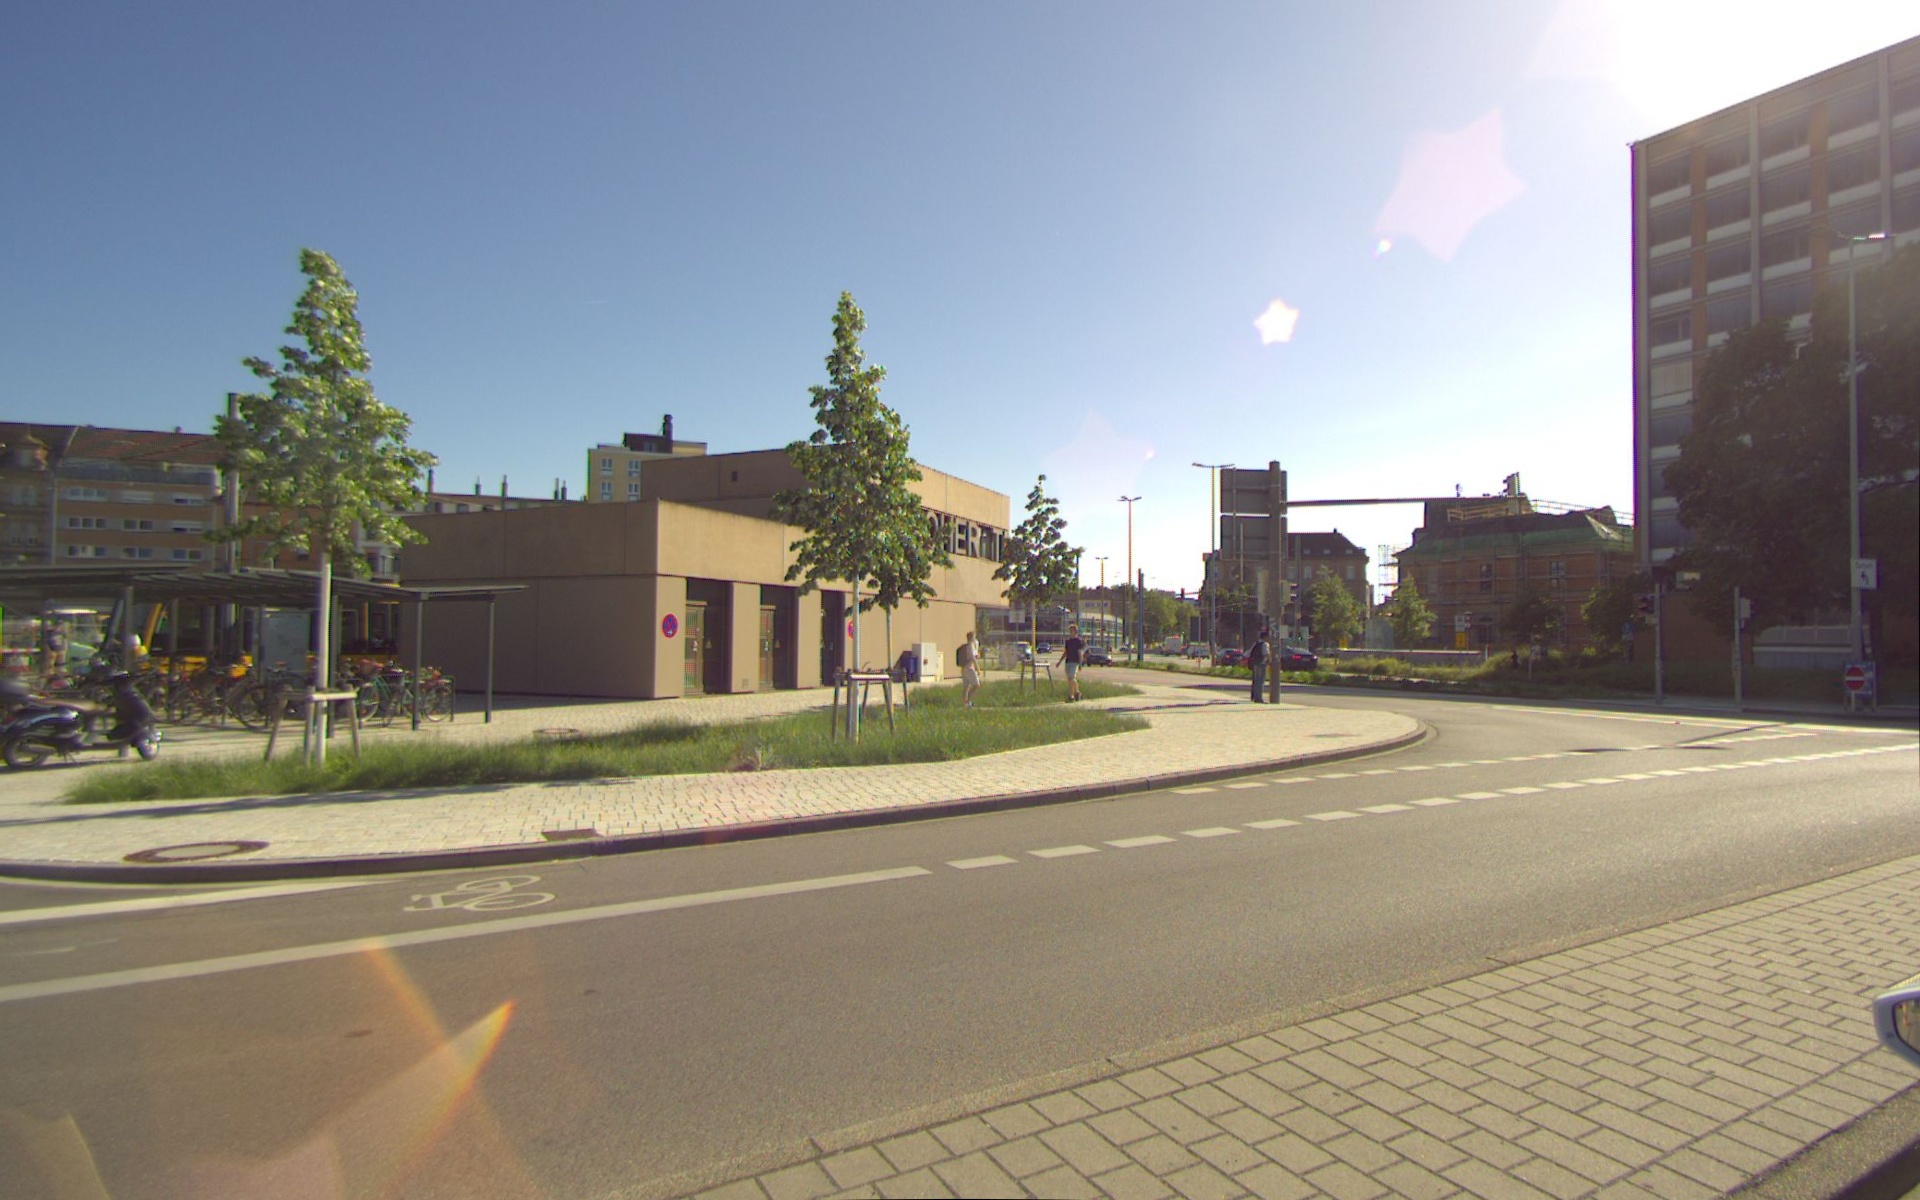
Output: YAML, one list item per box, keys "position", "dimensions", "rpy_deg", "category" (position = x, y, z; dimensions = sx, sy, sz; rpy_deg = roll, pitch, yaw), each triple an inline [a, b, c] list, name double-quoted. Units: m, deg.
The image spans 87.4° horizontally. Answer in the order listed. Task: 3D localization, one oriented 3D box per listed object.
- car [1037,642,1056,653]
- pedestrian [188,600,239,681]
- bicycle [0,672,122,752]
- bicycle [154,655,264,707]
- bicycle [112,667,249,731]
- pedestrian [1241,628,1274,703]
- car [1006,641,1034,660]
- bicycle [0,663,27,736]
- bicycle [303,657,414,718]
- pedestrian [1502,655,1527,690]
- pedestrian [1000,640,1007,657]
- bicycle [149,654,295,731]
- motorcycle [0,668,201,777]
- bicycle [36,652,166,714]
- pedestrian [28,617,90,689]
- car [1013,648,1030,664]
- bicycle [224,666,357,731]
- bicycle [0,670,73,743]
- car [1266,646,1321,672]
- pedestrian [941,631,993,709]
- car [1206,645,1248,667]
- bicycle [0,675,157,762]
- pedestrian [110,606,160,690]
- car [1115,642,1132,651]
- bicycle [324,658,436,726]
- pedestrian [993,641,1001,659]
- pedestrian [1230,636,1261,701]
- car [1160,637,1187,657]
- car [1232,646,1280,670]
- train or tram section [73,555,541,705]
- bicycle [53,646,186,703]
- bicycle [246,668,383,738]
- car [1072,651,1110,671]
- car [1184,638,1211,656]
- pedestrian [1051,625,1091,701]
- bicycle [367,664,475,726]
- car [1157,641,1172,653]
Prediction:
- position: [12.282, 6.730, 142.667]
  dimensions: [1.960, 1.603, 4.002]
  rpy_deg: [0, -2, 15]
  category: "car"
- position: [-17.630, 0.946, 23.752]
  dimensions: [0.738, 1.880, 0.709]
  rpy_deg: [1, -2, -19]
  category: "pedestrian"
- position: [-13.124, 1.557, 14.074]
  dimensions: [0.617, 1.021, 2.026]
  rpy_deg: [0, -2, 25]
  category: "bicycle"
- position: [-16.261, 1.733, 21.805]
  dimensions: [0.617, 1.021, 1.829]
  rpy_deg: [0, -2, 25]
  category: "bicycle"
- position: [-13.868, 1.741, 17.939]
  dimensions: [0.617, 1.021, 1.828]
  rpy_deg: [0, -2, 27]
  category: "bicycle"
- position: [7.599, 1.671, 25.655]
  dimensions: [0.594, 1.880, 0.681]
  rpy_deg: [1, -2, -7]
  category: "pedestrian"
- position: [5.832, 4.901, 98.155]
  dimensions: [1.963, 1.814, 3.995]
  rpy_deg: [1, -2, -8]
  category: "car"
- position: [-15.276, 1.515, 15.013]
  dimensions: [0.617, 1.094, 1.829]
  rpy_deg: [0, -2, 25]
  category: "bicycle"
- position: [-11.749, 1.687, 19.690]
  dimensions: [0.617, 1.107, 1.829]
  rpy_deg: [0, -2, 25]
  category: "bicycle"
- position: [33.433, 4.377, 60.556]
  dimensions: [0.995, 2.040, 0.826]
  rpy_deg: [0, -2, -4]
  category: "pedestrian"
- position: [5.320, 5.862, 121.951]
  dimensions: [0.708, 2.040, 0.718]
  rpy_deg: [0, -2, 13]
  category: "pedestrian"
- position: [-12.892, 1.583, 17.631]
  dimensions: [0.496, 1.225, 2.051]
  rpy_deg: [0, -2, 26]
  category: "bicycle"
- position: [-10.923, 1.478, 12.477]
  dimensions: [0.599, 1.173, 2.360]
  rpy_deg: [0, -2, 25]
  category: "motorcycle"
- position: [-16.915, 1.610, 19.831]
  dimensions: [0.617, 1.146, 1.828]
  rpy_deg: [0, -2, 27]
  category: "bicycle"
- position: [-26.266, 1.539, 29.289]
  dimensions: [0.854, 2.040, 1.012]
  rpy_deg: [0, -2, 19]
  category: "pedestrian"
- position: [6.849, 6.244, 112.534]
  dimensions: [1.866, 1.728, 4.002]
  rpy_deg: [-1, -3, 3]
  category: "car"
- position: [-11.619, 1.680, 17.502]
  dimensions: [0.492, 1.010, 1.887]
  rpy_deg: [0, -2, 31]
  category: "bicycle"
- position: [-14.108, 1.549, 14.514]
  dimensions: [0.617, 1.021, 1.829]
  rpy_deg: [0, -2, 25]
  category: "bicycle"
- position: [20.805, 3.658, 62.735]
  dimensions: [1.962, 1.538, 3.818]
  rpy_deg: [1, -2, -4]
  category: "car"
- position: [0.145, 1.575, 22.862]
  dimensions: [1.007, 1.727, 0.837]
  rpy_deg: [1, -2, -13]
  category: "pedestrian"
- position: [20.051, 4.210, 75.505]
  dimensions: [1.962, 1.538, 3.818]
  rpy_deg: [1, -2, -4]
  category: "car"
- position: [-12.041, 1.558, 13.522]
  dimensions: [0.617, 1.021, 1.829]
  rpy_deg: [0, -2, 25]
  category: "bicycle"
- position: [-18.807, 1.097, 22.910]
  dimensions: [0.671, 1.880, 0.602]
  rpy_deg: [1, -2, -19]
  category: "pedestrian"
- position: [31.031, 8.825, 190.506]
  dimensions: [1.965, 1.695, 3.991]
  rpy_deg: [-1, -2, 32]
  category: "car"
- position: [-10.746, 1.676, 18.685]
  dimensions: [0.616, 1.161, 1.831]
  rpy_deg: [0, -2, 18]
  category: "bicycle"
- position: [4.316, 5.797, 117.215]
  dimensions: [0.708, 2.040, 0.717]
  rpy_deg: [0, -2, 16]
  category: "pedestrian"
- position: [7.654, 1.824, 26.958]
  dimensions: [0.594, 1.719, 0.634]
  rpy_deg: [1, -2, -7]
  category: "pedestrian"
- position: [28.612, 6.333, 134.893]
  dimensions: [2.952, 2.580, 6.963]
  rpy_deg: [0, -2, 6]
  category: "car"
- position: [20.280, 3.940, 68.999]
  dimensions: [1.962, 1.538, 3.818]
  rpy_deg: [1, -2, -4]
  category: "car"
- position: [-18.703, 0.949, 30.563]
  dimensions: [2.702, 3.648, 12.318]
  rpy_deg: [0, -2, 25]
  category: "train or tram section"
- position: [-15.996, 1.391, 19.168]
  dimensions: [0.617, 1.021, 1.828]
  rpy_deg: [0, -2, 27]
  category: "bicycle"
- position: [-10.676, 1.678, 16.685]
  dimensions: [0.617, 1.021, 1.828]
  rpy_deg: [0, -2, 27]
  category: "bicycle"
- position: [9.630, 4.475, 73.918]
  dimensions: [1.962, 1.407, 3.998]
  rpy_deg: [0, -3, -5]
  category: "car"
- position: [26.810, 5.289, 113.508]
  dimensions: [2.031, 2.040, 5.018]
  rpy_deg: [0, -2, 3]
  category: "car"
- position: [2.791, 1.558, 25.185]
  dimensions: [0.825, 1.869, 0.867]
  rpy_deg: [0, -2, 19]
  category: "pedestrian"
- position: [-9.826, 1.709, 18.386]
  dimensions: [0.616, 1.021, 1.832]
  rpy_deg: [0, -2, 16]
  category: "bicycle"
- position: [30.032, 6.882, 147.741]
  dimensions: [2.059, 1.602, 4.862]
  rpy_deg: [0, -2, 13]
  category: "car"
